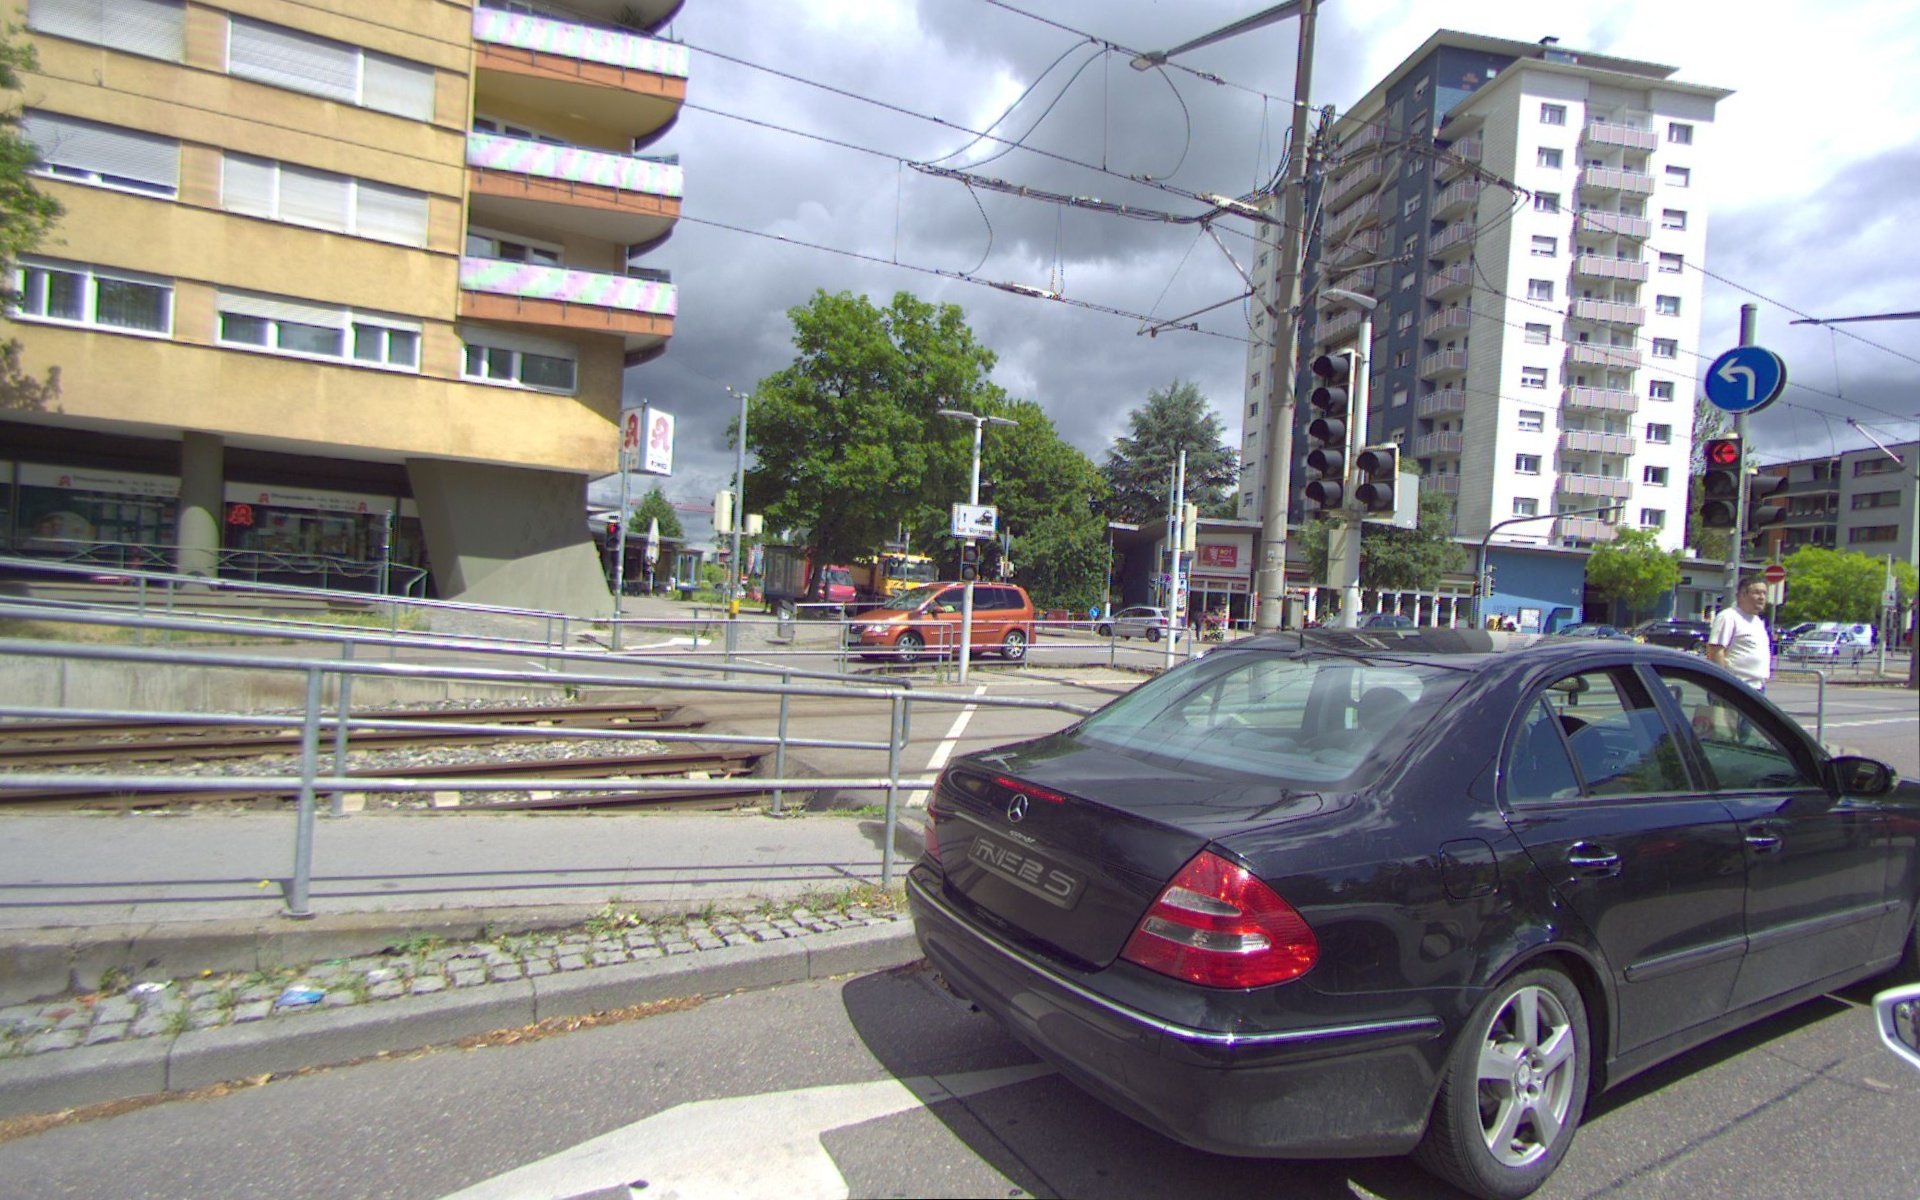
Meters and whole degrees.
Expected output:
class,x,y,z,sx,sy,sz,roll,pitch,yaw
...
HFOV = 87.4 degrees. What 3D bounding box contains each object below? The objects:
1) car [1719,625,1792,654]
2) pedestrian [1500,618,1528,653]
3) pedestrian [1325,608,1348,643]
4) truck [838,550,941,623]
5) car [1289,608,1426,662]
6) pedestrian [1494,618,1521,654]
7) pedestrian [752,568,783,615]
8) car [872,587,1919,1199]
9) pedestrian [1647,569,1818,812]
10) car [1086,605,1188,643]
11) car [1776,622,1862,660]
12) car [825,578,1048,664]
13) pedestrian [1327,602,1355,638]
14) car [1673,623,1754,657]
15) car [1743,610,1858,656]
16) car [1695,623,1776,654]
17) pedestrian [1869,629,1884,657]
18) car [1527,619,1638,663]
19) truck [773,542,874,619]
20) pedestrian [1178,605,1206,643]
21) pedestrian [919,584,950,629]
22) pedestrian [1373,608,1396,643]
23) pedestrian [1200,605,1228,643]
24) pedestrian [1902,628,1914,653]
class,x,y,z,sx,sy,sz,roll,pitch,yaw
car,45.320,2.230,57.318,1.754,1.439,4.219,2,0,16
pedestrian,27.376,1.759,49.620,0.934,1.681,1.093,1,-1,42
pedestrian,18.259,1.237,48.705,0.693,1.637,0.760,1,1,-40
truck,-3.594,-0.621,49.197,2.733,3.244,7.443,1,0,-23
car,11.696,1.036,29.496,4.209,1.432,1.619,3,-1,-34
pedestrian,26.584,1.731,48.764,0.934,1.681,1.093,1,-1,42
pedestrian,-7.041,-0.322,36.694,0.753,1.638,0.777,5,5,37
car,2.076,0.763,3.805,4.490,1.481,1.720,2,0,-30
pedestrian,6.234,0.683,8.123,0.734,1.832,0.863,1,1,-33
car,7.437,1.009,42.380,1.688,1.416,3.946,3,0,-45
car,41.208,1.966,48.183,3.827,1.715,1.928,2,0,-30
car,-0.454,0.459,21.509,4.415,1.656,1.981,1,-1,-35
pedestrian,21.124,1.123,55.669,1.200,1.942,0.860,1,1,-30
car,40.141,2.106,53.625,1.921,1.591,4.220,2,0,13
car,49.799,1.888,59.759,2.776,2.512,6.724,2,0,17
car,42.794,2.094,55.550,1.921,1.558,4.220,2,0,13
pedestrian,57.798,2.708,63.353,0.663,1.739,0.542,1,1,-40
car,22.493,1.497,36.269,4.446,1.418,1.625,2,0,-33
truck,-6.801,-0.903,48.719,2.692,3.320,8.877,1,0,-22
pedestrian,10.521,1.073,45.527,0.977,1.681,0.969,2,-1,-4
pedestrian,-1.010,0.269,39.570,0.773,1.636,0.758,6,2,-35
pedestrian,20.761,1.242,49.119,0.693,1.637,0.760,1,1,-43
pedestrian,11.559,1.106,45.725,0.977,1.681,0.969,2,-1,-4
pedestrian,66.971,2.889,70.973,0.401,1.739,0.542,1,1,-39
